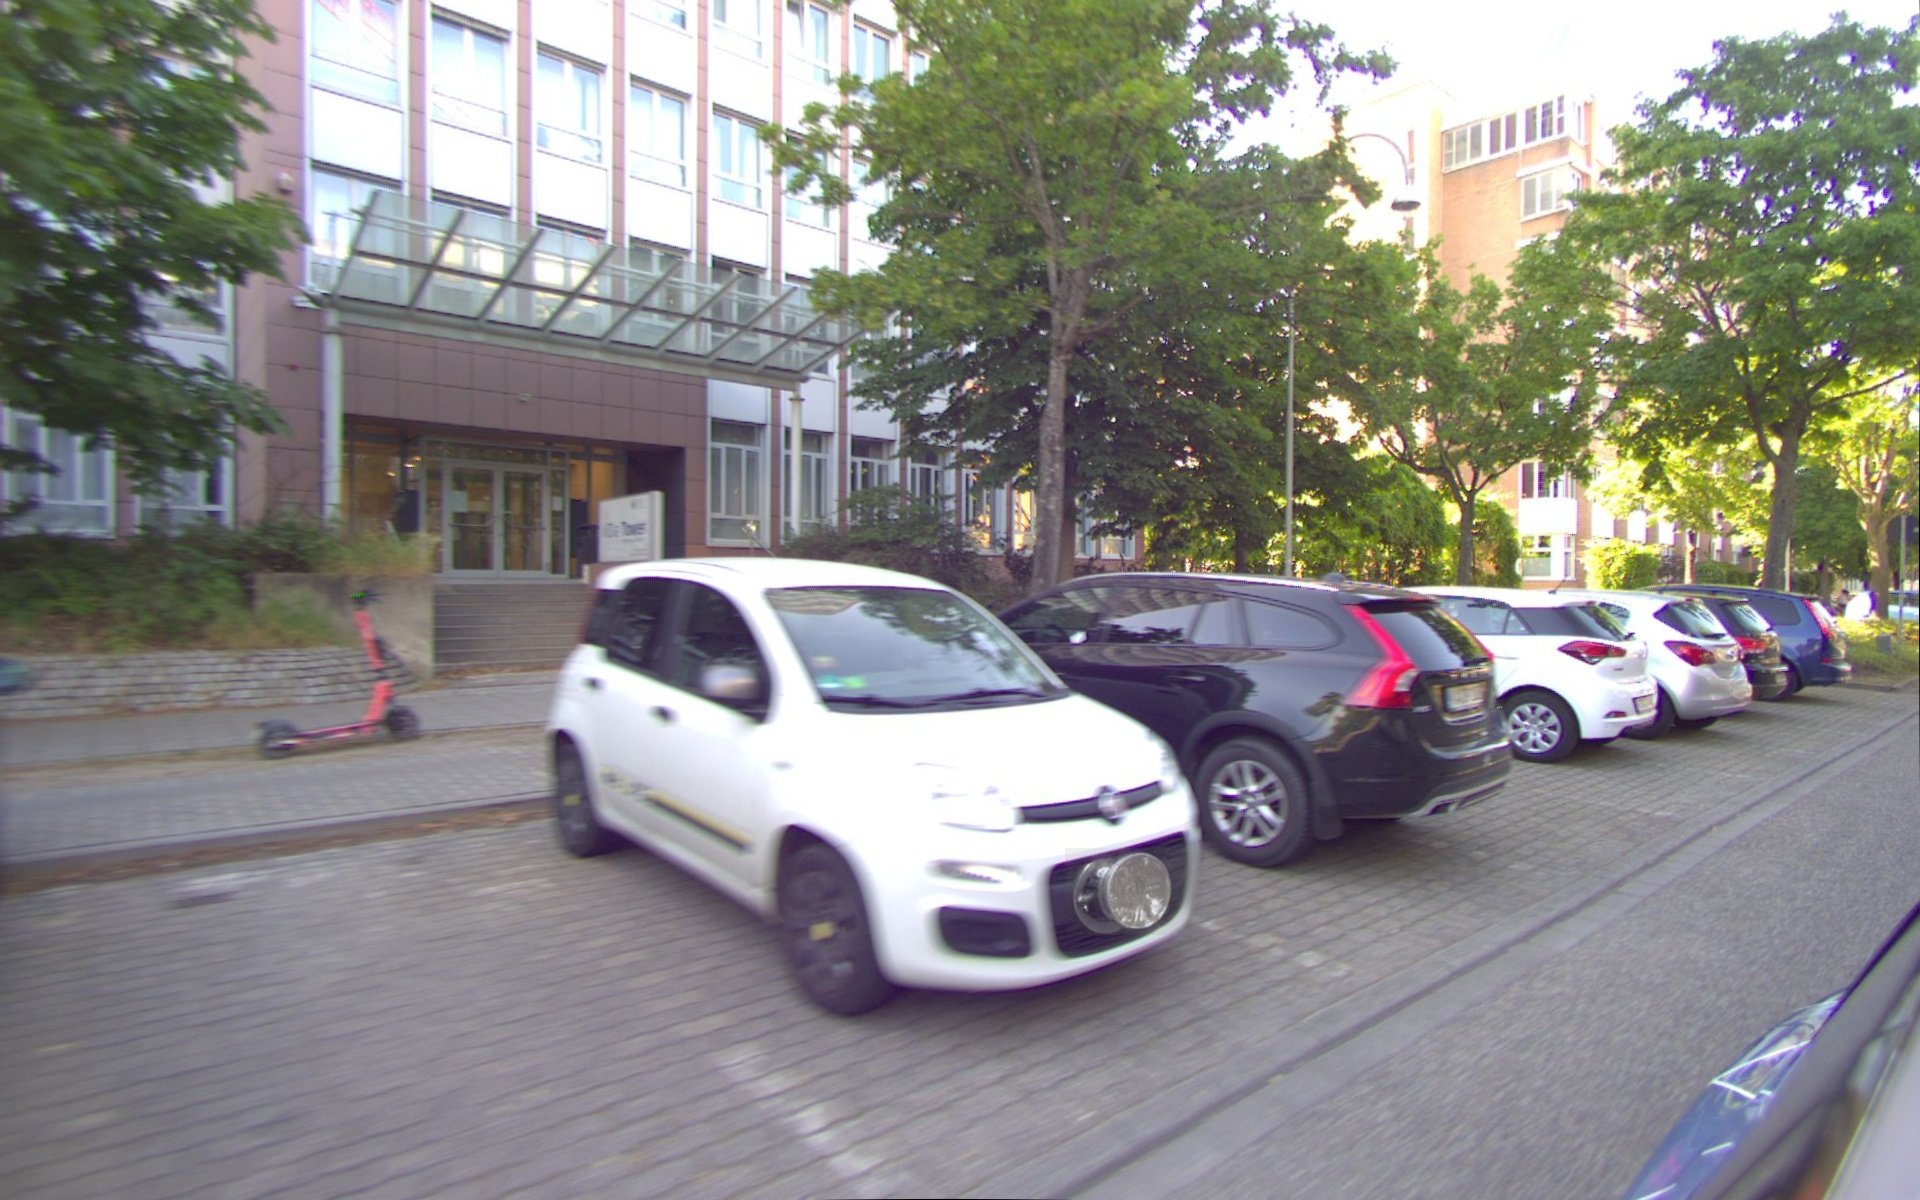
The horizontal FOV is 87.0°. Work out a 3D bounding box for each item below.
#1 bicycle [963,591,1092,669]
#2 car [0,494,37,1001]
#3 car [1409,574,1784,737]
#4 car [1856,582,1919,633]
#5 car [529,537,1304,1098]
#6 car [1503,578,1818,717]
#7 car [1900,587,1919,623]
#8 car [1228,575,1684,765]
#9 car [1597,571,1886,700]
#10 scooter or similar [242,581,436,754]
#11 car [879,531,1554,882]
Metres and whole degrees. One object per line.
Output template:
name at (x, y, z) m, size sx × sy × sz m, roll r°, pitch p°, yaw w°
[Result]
bicycle at (0.829, 0.357, 12.391) m, size 1.563 × 0.928 × 0.301 m, roll 0°, pitch 0°, yaw -15°
car at (-3.571, 0.468, 2.427) m, size 1.827 × 1.573 × 4.428 m, roll 0°, pitch 1°, yaw -40°
car at (6.995, 0.489, 11.371) m, size 1.559 × 1.497 × 3.206 m, roll -1°, pitch 2°, yaw -37°
car at (33.602, 0.250, 34.671) m, size 1.966 × 1.727 × 4.159 m, roll -1°, pitch 1°, yaw -42°
car at (-0.508, 0.510, 4.648) m, size 1.694 × 1.525 × 3.579 m, roll -1°, pitch 3°, yaw -41°
car at (8.906, 0.497, 13.035) m, size 1.469 × 1.477 × 2.999 m, roll -1°, pitch 3°, yaw -37°
car at (41.099, 0.202, 41.162) m, size 1.918 × 1.490 × 3.996 m, roll -1°, pitch 1°, yaw -38°
car at (4.756, 0.522, 10.108) m, size 1.629 × 1.471 × 3.751 m, roll 0°, pitch 2°, yaw -42°
car at (11.424, 0.422, 14.929) m, size 1.575 × 1.624 × 3.055 m, roll 0°, pitch 2°, yaw -38°
scooter or similar at (-4.625, 0.460, 7.602) m, size 0.270 × 1.201 × 1.232 m, roll 0°, pitch 0°, yaw 36°
car at (1.367, 0.434, 6.538) m, size 1.656 × 1.569 × 3.975 m, roll 0°, pitch 1°, yaw -44°
